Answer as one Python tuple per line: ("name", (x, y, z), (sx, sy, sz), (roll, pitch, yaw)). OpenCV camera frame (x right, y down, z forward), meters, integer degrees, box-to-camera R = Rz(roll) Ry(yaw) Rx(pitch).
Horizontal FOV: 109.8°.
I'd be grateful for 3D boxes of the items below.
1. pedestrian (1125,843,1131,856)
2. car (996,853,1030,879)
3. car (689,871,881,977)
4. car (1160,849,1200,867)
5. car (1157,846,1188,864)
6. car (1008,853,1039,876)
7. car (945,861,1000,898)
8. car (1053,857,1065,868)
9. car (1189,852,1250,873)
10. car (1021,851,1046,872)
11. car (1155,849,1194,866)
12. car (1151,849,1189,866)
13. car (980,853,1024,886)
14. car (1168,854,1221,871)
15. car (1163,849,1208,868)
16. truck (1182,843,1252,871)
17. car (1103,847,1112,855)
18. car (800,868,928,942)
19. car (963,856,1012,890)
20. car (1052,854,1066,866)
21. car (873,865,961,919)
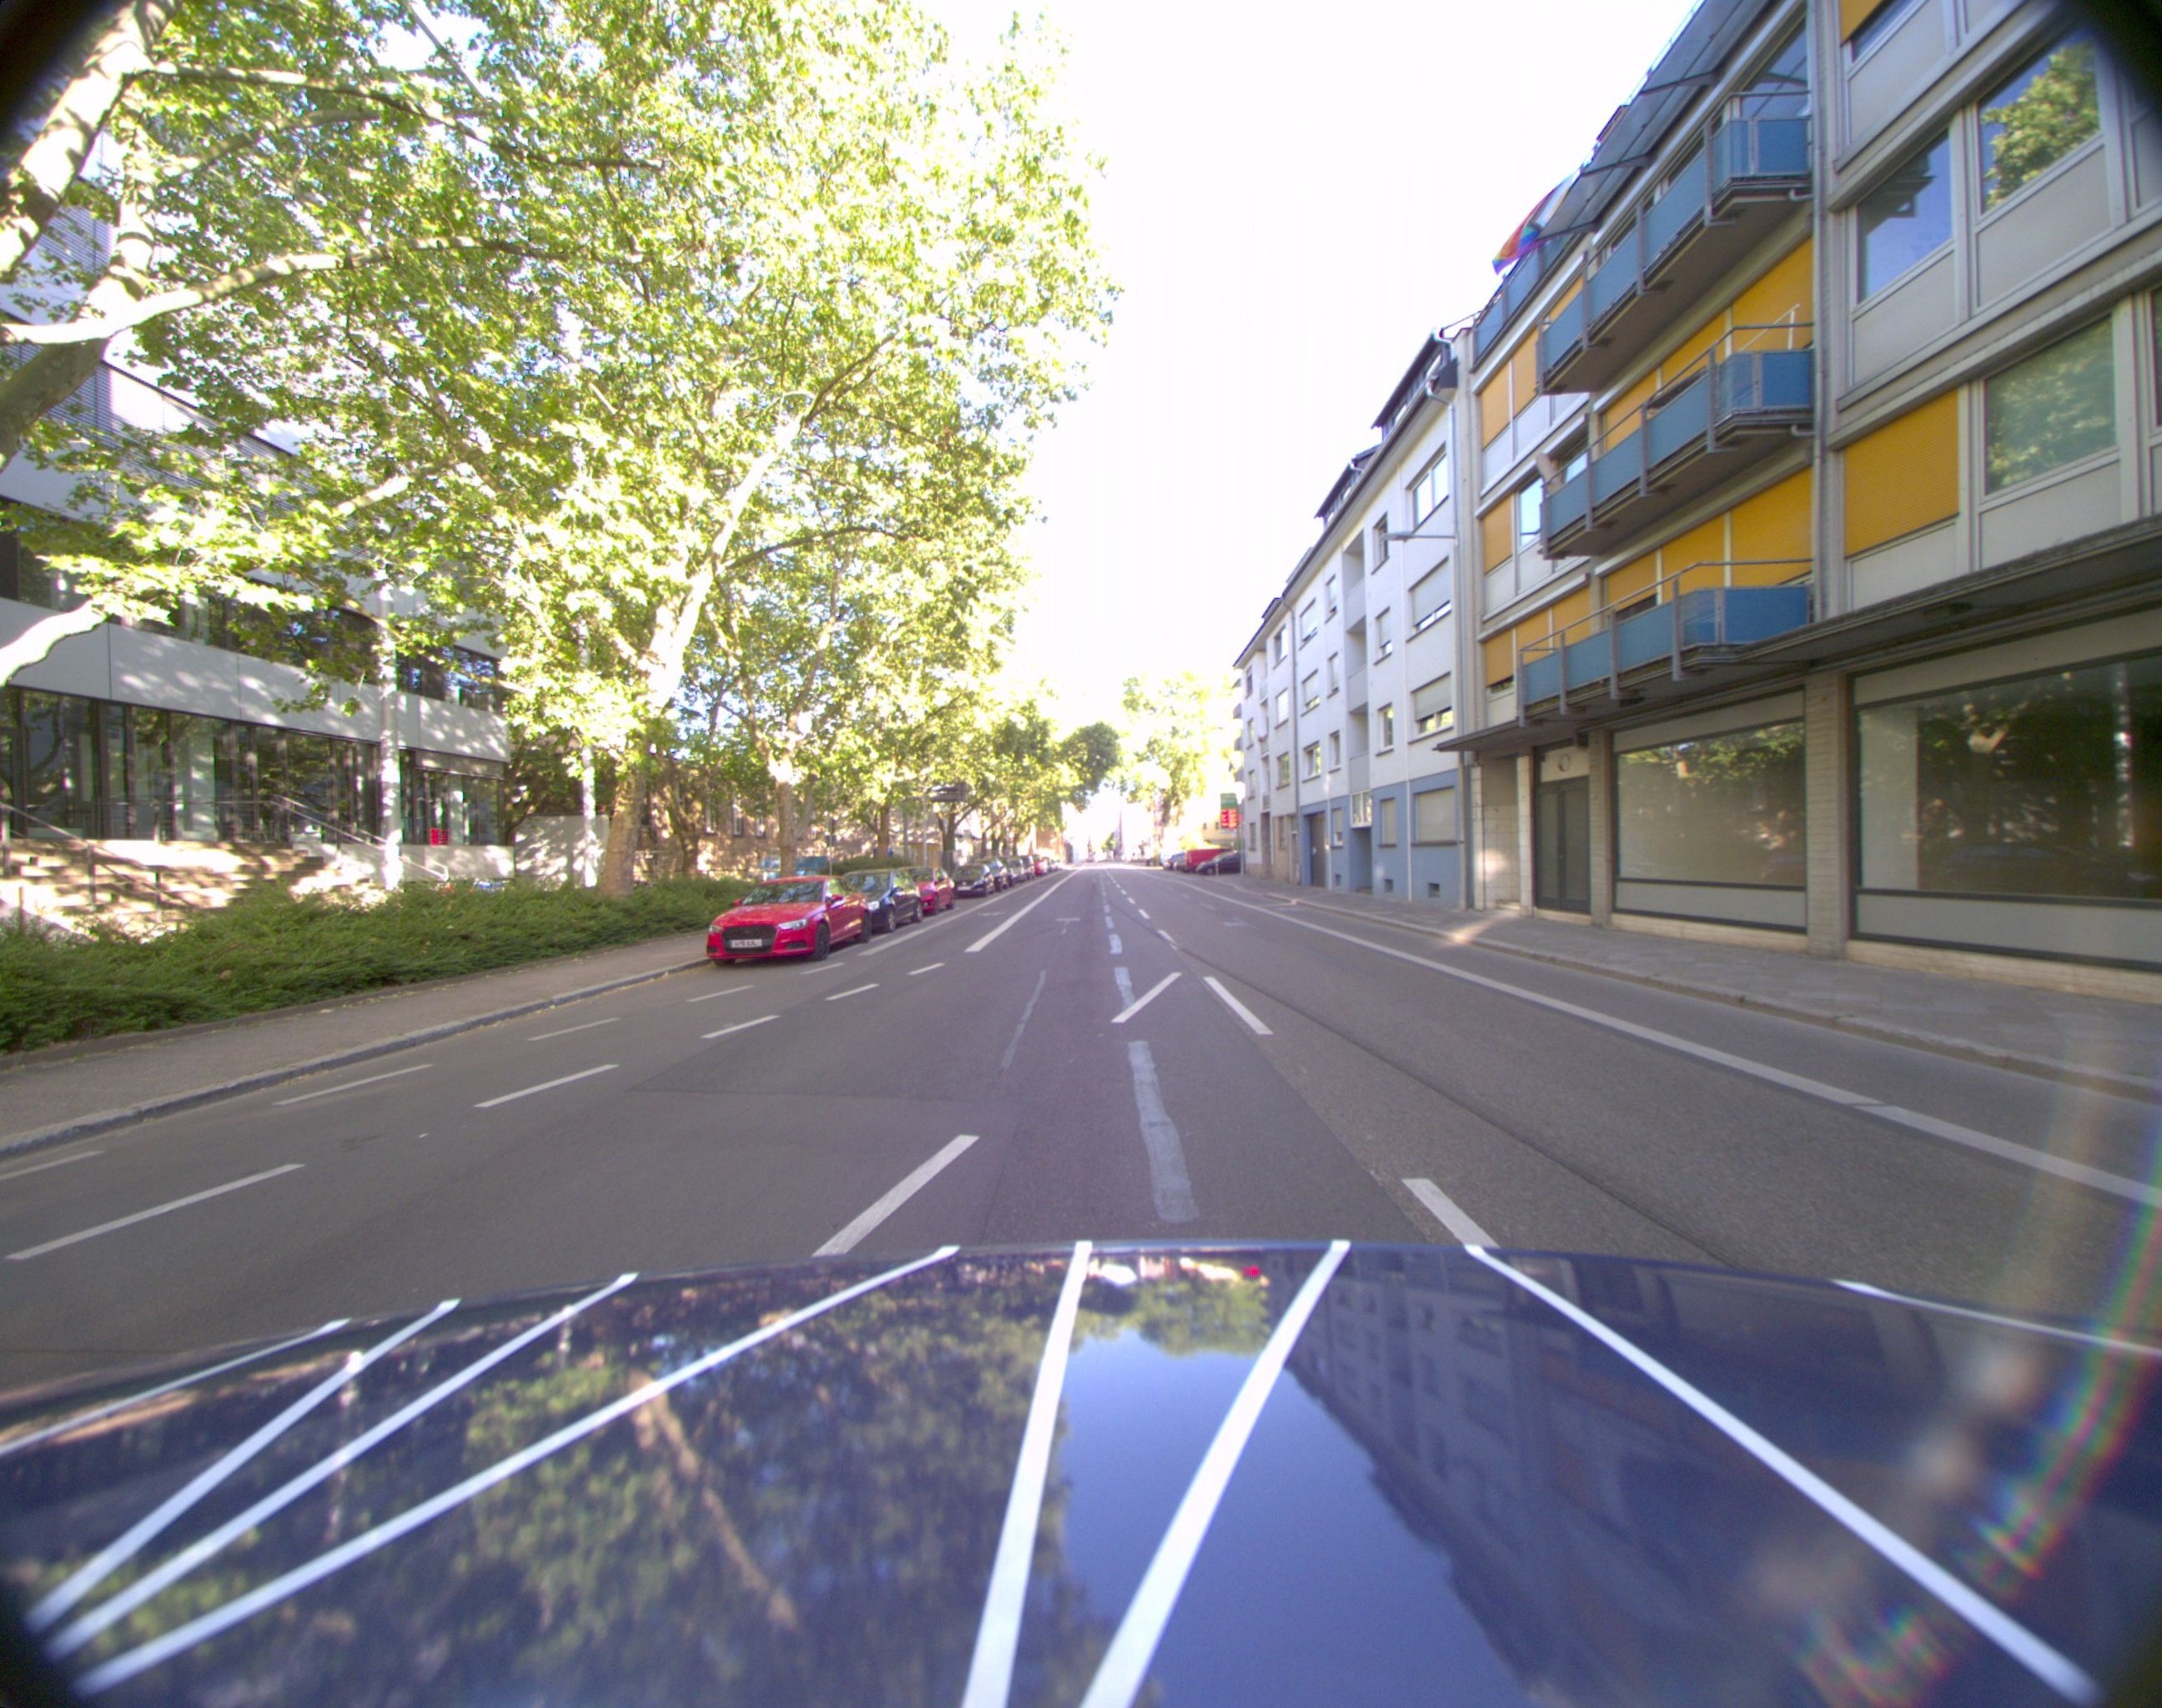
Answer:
("pedestrian", (12.281, -1.146, 196.971), (1.358, 3.172, 1.897), (-2, 1, 1))
("car", (-4.445, 0.735, 50.465), (1.798, 1.608, 4.075), (-1, 0, 1))
("car", (-5.080, 1.120, 13.719), (1.775, 1.416, 4.173), (-3, 0, 0))
("car", (9.875, 0.378, 75.922), (3.658, 1.578, 1.659), (-2, 1, -5))
("car", (10.224, 0.104, 85.236), (3.267, 1.927, 1.693), (-2, 1, 2))
("car", (-4.173, 0.746, 55.521), (1.831, 1.608, 4.177), (-1, 0, 1))
("car", (-4.681, 1.080, 33.275), (1.745, 1.430, 4.000), (-1, 0, 1))
("car", (-2.633, 1.021, 92.256), (1.300, 1.220, 3.241), (-1, 0, 0))
("car", (9.964, 0.604, 54.857), (3.997, 1.385, 1.781), (-2, 1, -1))
("car", (-4.112, 0.610, 66.191), (1.876, 1.685, 4.166), (-1, 0, 1))
("car", (9.610, 0.374, 78.580), (3.703, 1.573, 1.718), (-2, 1, -5))
("car", (9.481, 0.370, 80.872), (3.728, 1.579, 1.743), (-2, 1, -5))
("car", (-4.549, 0.865, 44.204), (1.998, 1.715, 4.262), (-2, 1, 1))
("car", (9.319, 0.678, 62.826), (4.033, 1.265, 1.906), (-2, 1, -1))
("car", (10.079, 0.428, 73.375), (3.998, 1.618, 1.702), (-2, 1, -5))
("truck", (10.723, 0.237, 60.108), (5.088, 2.009, 2.000), (-2, 1, 0))
("car", (6.757, -0.813, 193.473), (1.998, 2.002, 3.999), (-2, 1, 1))
("car", (-5.081, 1.137, 18.377), (1.813, 1.449, 4.000), (-1, 0, 2))
("car", (-4.627, 0.918, 38.221), (1.848, 1.572, 4.232), (-1, 0, 1))
("car", (-2.989, 0.808, 102.806), (1.707, 1.459, 3.809), (-1, 0, 0))
("car", (-5.003, 1.102, 23.713), (1.790, 1.429, 4.000), (-1, 0, 1))
